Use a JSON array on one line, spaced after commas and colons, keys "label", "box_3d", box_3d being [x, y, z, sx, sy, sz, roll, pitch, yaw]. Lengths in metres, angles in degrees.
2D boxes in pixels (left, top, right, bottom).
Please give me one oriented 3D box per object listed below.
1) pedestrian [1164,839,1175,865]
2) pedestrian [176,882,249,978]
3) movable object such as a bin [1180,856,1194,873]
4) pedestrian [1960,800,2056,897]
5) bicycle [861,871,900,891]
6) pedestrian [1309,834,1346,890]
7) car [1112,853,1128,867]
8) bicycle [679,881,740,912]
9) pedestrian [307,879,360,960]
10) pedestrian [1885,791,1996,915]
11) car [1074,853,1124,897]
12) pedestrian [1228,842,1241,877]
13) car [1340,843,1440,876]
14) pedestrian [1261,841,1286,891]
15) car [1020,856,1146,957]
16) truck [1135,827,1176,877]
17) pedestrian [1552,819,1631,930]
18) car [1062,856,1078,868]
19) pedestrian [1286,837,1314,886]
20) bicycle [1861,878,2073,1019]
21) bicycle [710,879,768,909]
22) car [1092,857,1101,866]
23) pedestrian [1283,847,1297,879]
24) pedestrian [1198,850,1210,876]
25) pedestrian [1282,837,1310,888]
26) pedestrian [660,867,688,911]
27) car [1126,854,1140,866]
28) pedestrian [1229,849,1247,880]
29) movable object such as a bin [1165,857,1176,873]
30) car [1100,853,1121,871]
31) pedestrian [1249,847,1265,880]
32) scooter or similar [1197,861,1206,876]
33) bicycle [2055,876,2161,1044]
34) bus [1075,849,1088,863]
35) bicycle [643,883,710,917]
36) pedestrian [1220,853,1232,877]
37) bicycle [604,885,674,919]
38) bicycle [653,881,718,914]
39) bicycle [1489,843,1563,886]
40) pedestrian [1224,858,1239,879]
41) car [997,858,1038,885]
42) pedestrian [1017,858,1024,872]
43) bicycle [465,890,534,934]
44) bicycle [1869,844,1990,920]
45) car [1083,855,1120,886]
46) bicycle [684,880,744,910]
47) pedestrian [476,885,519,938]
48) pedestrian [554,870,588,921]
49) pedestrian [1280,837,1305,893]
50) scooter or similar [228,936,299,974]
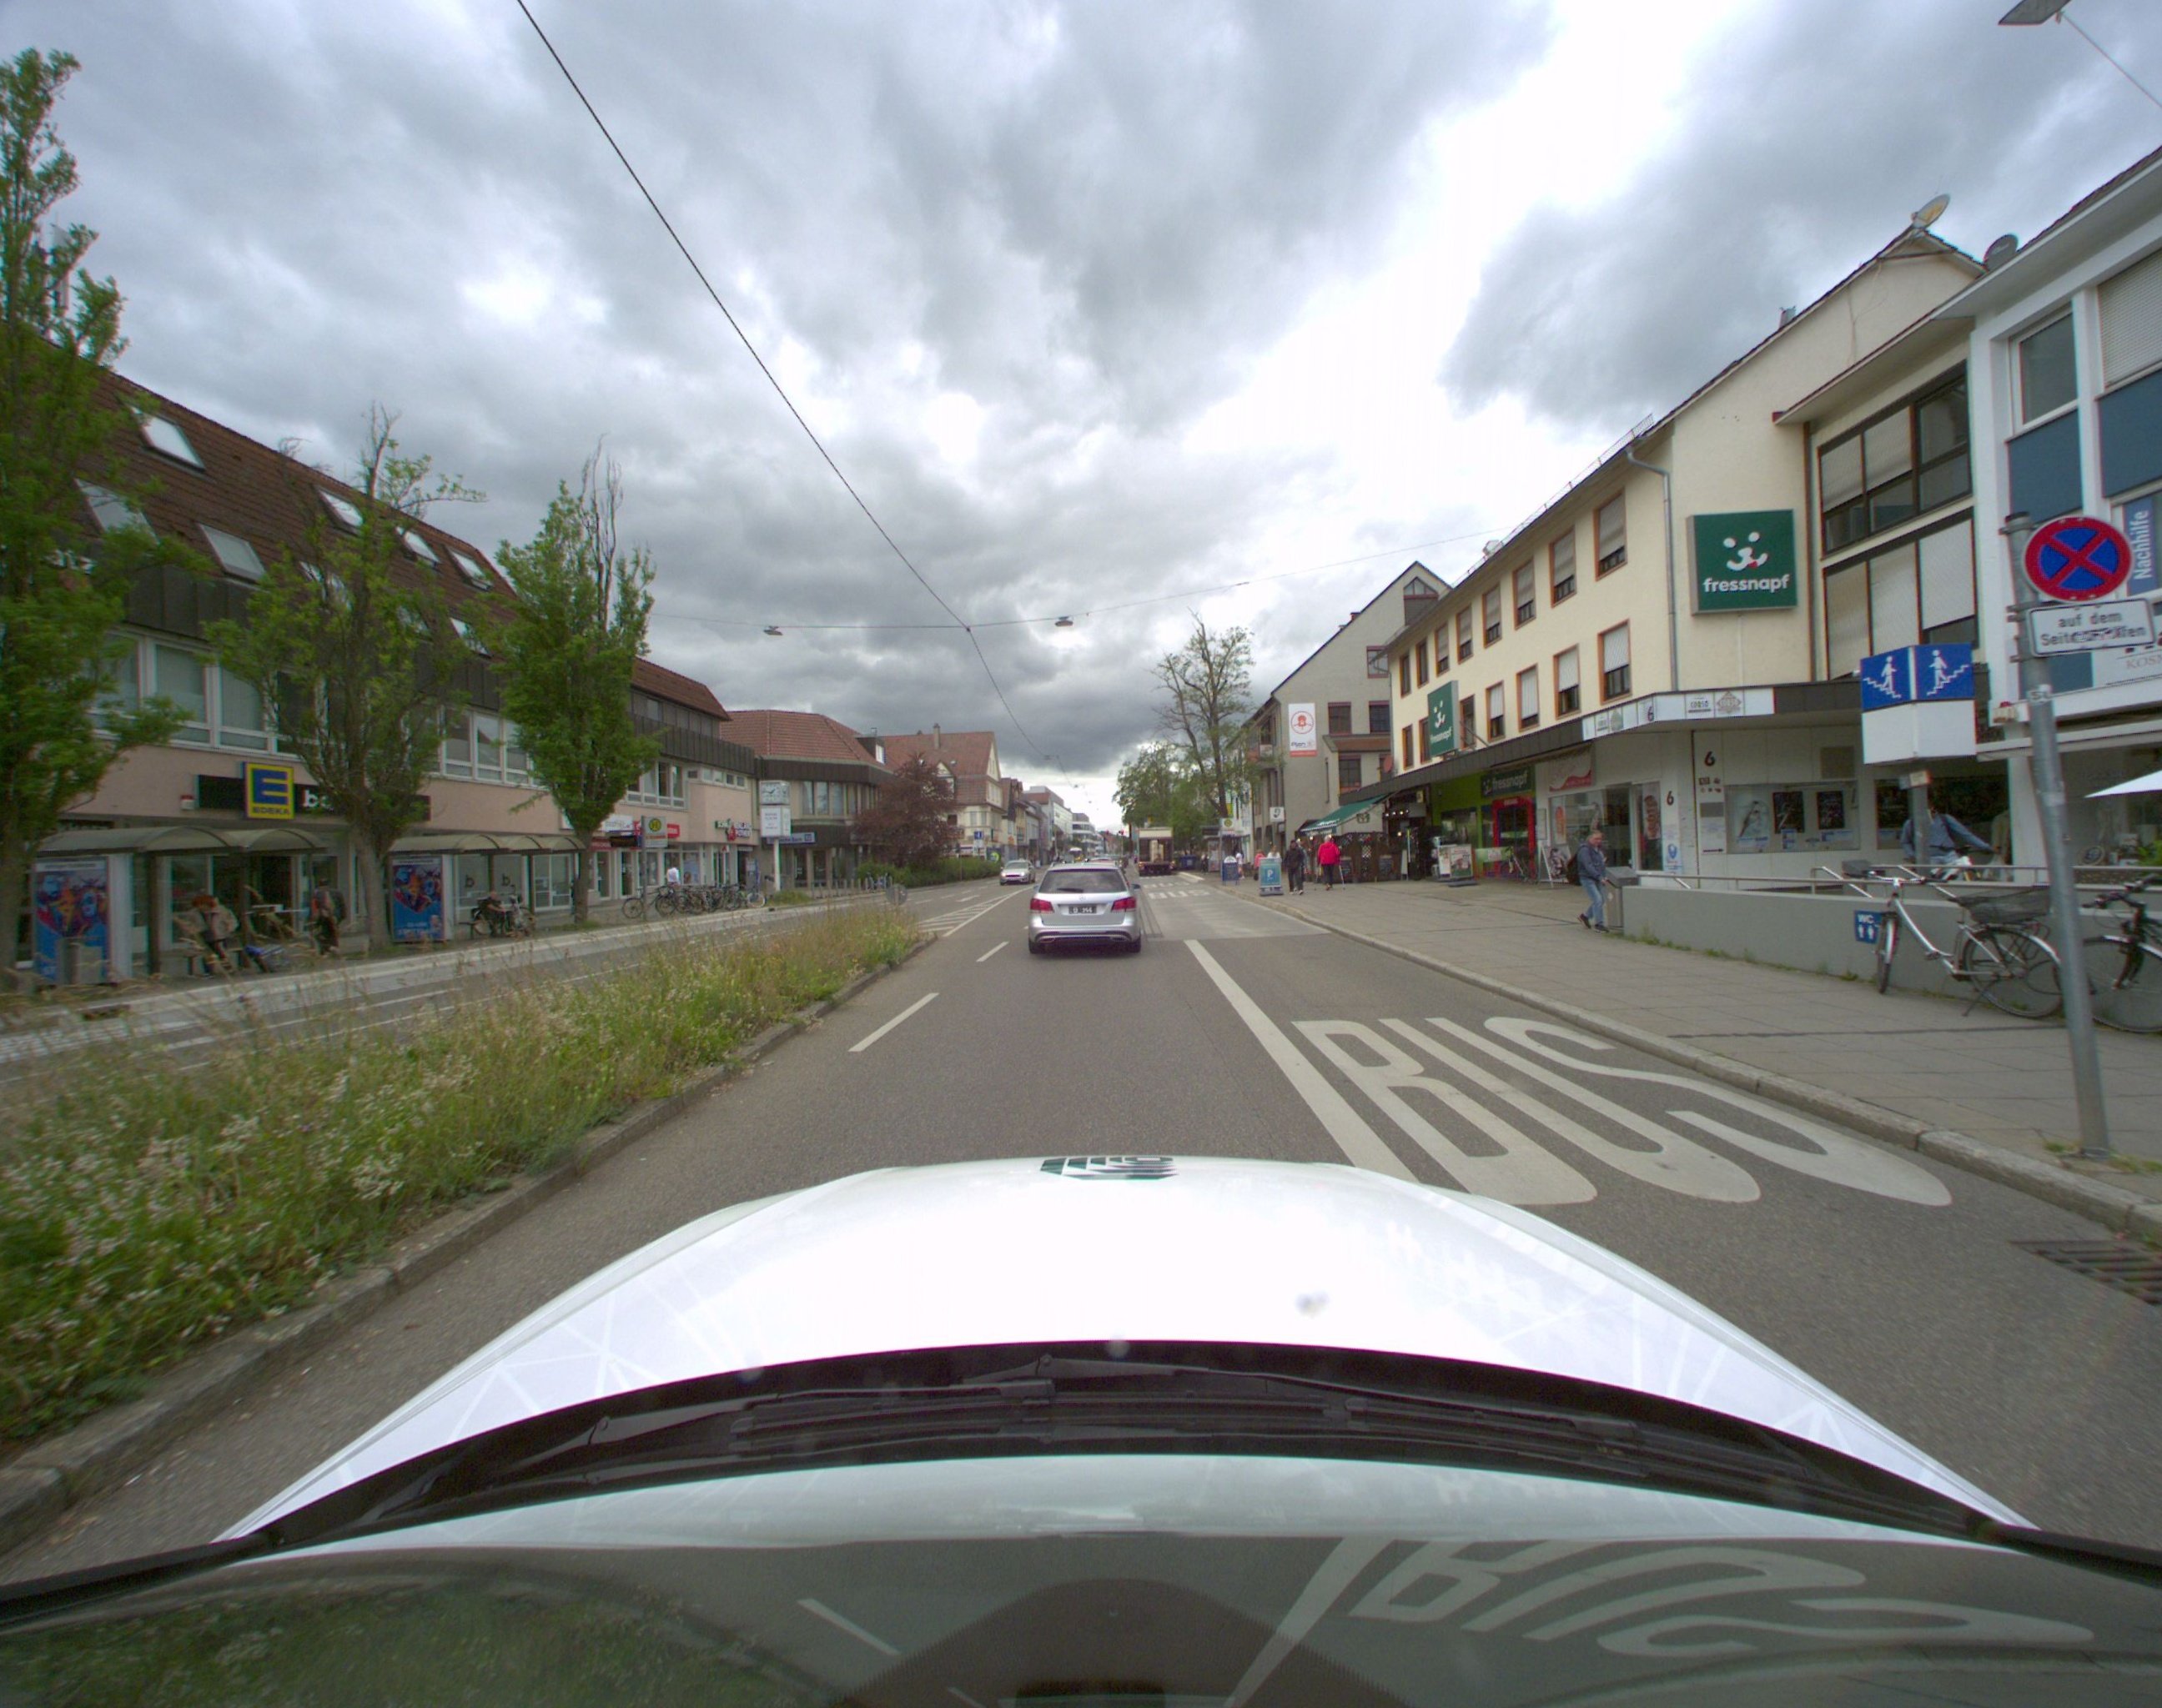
[{"label": "pedestrian", "box_3d": [6.311, -0.141, 58.209, 0.611, 1.780, 0.588, -2, -2, -1]}, {"label": "pedestrian", "box_3d": [-15.832, 1.357, 14.860, 0.587, 1.652, 0.710, -1, 0, -15]}, {"label": "movable object such as a bin", "box_3d": [9.108, 0.893, 70.054, 1.138, 1.339, 1.378, -2, 0, 5]}, {"label": "pedestrian", "box_3d": [16.395, -0.095, 14.417, 0.685, 1.634, 0.853, -2, 0, 0]}, {"label": "bicycle", "box_3d": [-11.377, 1.533, 46.220, 2.016, 1.090, 0.647, -2, 0, -7]}, {"label": "pedestrian", "box_3d": [7.927, 0.257, 26.220, 0.793, 1.742, 0.781, -4, -2, -3]}, {"label": "car", "box_3d": [5.043, 0.775, 104.081, 1.985, 1.684, 4.004, -2, 0, 3]}, {"label": "bicycle", "box_3d": [-14.247, 1.623, 31.265, 2.016, 1.090, 0.647, -2, 0, -7]}, {"label": "pedestrian", "box_3d": [-16.104, 1.389, 17.559, 0.588, 1.652, 0.709, -1, 0, -21]}, {"label": "pedestrian", "box_3d": [11.883, -0.010, 11.286, 0.663, 1.634, 0.801, -2, 0, 3]}, {"label": "car", "box_3d": [0.761, 0.758, 31.555, 1.747, 1.521, 4.003, -2, 0, 3]}, {"label": "pedestrian", "box_3d": [9.206, 0.338, 48.863, 0.608, 2.047, 0.590, -4, -1, 16]}, {"label": "car", "box_3d": [16.110, 0.292, 42.626, 4.580, 1.620, 1.884, -1, -1, 6]}, {"label": "pedestrian", "box_3d": [6.450, 0.397, 27.280, 0.610, 1.634, 0.615, -2, -1, 0]}, {"label": "car", "box_3d": [0.080, 0.805, 14.299, 1.867, 1.506, 4.001, -1, 0, 1]}, {"label": "truck", "box_3d": [5.723, -0.167, 63.919, 2.677, 3.561, 9.774, -2, 0, 3]}, {"label": "pedestrian", "box_3d": [7.866, 0.309, 12.580, 0.684, 1.634, 0.854, -2, 0, 4]}, {"label": "car", "box_3d": [-1.724, 1.270, 131.588, 2.059, 1.738, 4.699, -4, 0, 5]}, {"label": "pedestrian", "box_3d": [8.144, 0.278, 30.288, 0.680, 1.742, 0.781, -4, -2, -2]}, {"label": "bicycle", "box_3d": [7.117, 0.710, 6.628, 0.272, 0.974, 1.389, -2, 0, 4]}, {"label": "bicycle", "box_3d": [-13.785, 1.603, 32.834, 2.016, 1.090, 0.647, -2, 0, -7]}, {"label": "car", "box_3d": [2.875, 1.405, 147.999, 1.565, 1.540, 2.961, 0, 0, 1]}, {"label": "pedestrian", "box_3d": [10.977, 0.481, 42.774, 0.583, 1.634, 0.616, -1, 0, 4]}, {"label": "pedestrian", "box_3d": [7.921, 0.561, 52.529, 0.536, 1.634, 0.584, 1, 0, -22]}, {"label": "pedestrian", "box_3d": [7.141, 0.288, 27.045, 0.716, 1.634, 0.615, -2, -1, 0]}, {"label": "pedestrian", "box_3d": [-16.662, 1.414, 33.369, 0.723, 1.764, 0.755, 1, 0, 1]}, {"label": "car", "box_3d": [7.667, 0.861, 120.159, 1.985, 1.684, 4.004, -2, 0, 3]}, {"label": "pedestrian", "box_3d": [8.428, 0.537, 43.801, 0.615, 1.634, 0.789, -2, 0, -19]}, {"label": "movable object such as a bin", "box_3d": [7.707, 0.951, 70.327, 0.877, 1.339, 1.087, -2, 0, 5]}, {"label": "car", "box_3d": [2.993, 0.801, 81.290, 1.985, 1.684, 4.004, -2, 0, 3]}, {"label": "pedestrian", "box_3d": [8.532, 0.453, 39.402, 0.666, 1.567, 0.494, 0, 1, 23]}, {"label": "scooter or similar", "box_3d": [7.714, 0.914, 52.104, 0.387, 0.959, 0.351, -2, -1, -38]}, {"label": "bicycle", "box_3d": [7.082, 0.694, 5.135, 0.272, 1.053, 1.389, -2, 0, 4]}, {"label": "bus", "box_3d": [0.147, 0.501, 205.440, 2.763, 3.165, 5.938, -2, 0, 4]}, {"label": "bicycle", "box_3d": [-14.399, 1.626, 29.006, 2.012, 1.090, 0.648, -2, 0, -2]}, {"label": "pedestrian", "box_3d": [8.884, 0.675, 49.886, 0.608, 1.401, 0.590, -4, -1, 16]}, {"label": "bicycle", "box_3d": [-15.242, 1.644, 28.111, 2.019, 1.090, 0.646, -1, -1, -11]}, {"label": "bicycle", "box_3d": [-14.583, 1.601, 30.070, 2.016, 1.090, 0.647, -2, 0, -7]}, {"label": "bicycle", "box_3d": [11.972, 0.271, 22.007, 0.738, 1.062, 2.352, -3, 0, 1]}, {"label": "pedestrian", "box_3d": [8.563, 0.811, 46.337, 0.710, 1.166, 0.587, -1, 0, -4]}, {"label": "car", "box_3d": [-3.859, 1.055, 50.007, 1.866, 1.506, 4.347, -3, -1, 3]}, {"label": "pedestrian", "box_3d": [-7.268, 1.307, 98.465, 0.815, 1.634, 0.979, 0, 0, -2]}, {"label": "bicycle", "box_3d": [-16.451, 1.624, 23.112, 0.531, 1.090, 1.931, -1, 0, 1]}, {"label": "bicycle", "box_3d": [11.684, 0.360, 11.259, 0.272, 0.974, 1.389, -2, 0, 4]}, {"label": "car", "box_3d": [1.249, 0.921, 47.441, 1.985, 1.684, 4.004, -2, 0, 3]}, {"label": "bicycle", "box_3d": [-14.391, 1.599, 31.967, 2.016, 1.090, 0.647, -2, 0, -7]}, {"label": "pedestrian", "box_3d": [-15.697, 1.534, 21.910, 0.708, 1.364, 0.589, -1, 0, 5]}, {"label": "pedestrian", "box_3d": [-18.354, 1.486, 29.328, 0.723, 1.764, 0.755, 1, 0, 1]}, {"label": "pedestrian", "box_3d": [6.451, 0.330, 24.819, 0.609, 1.678, 0.616, 1, 0, 5]}, {"label": "scooter or similar", "box_3d": [-15.276, 1.877, 15.231, 0.590, 0.601, 0.703, -2, 0, 2]}]
